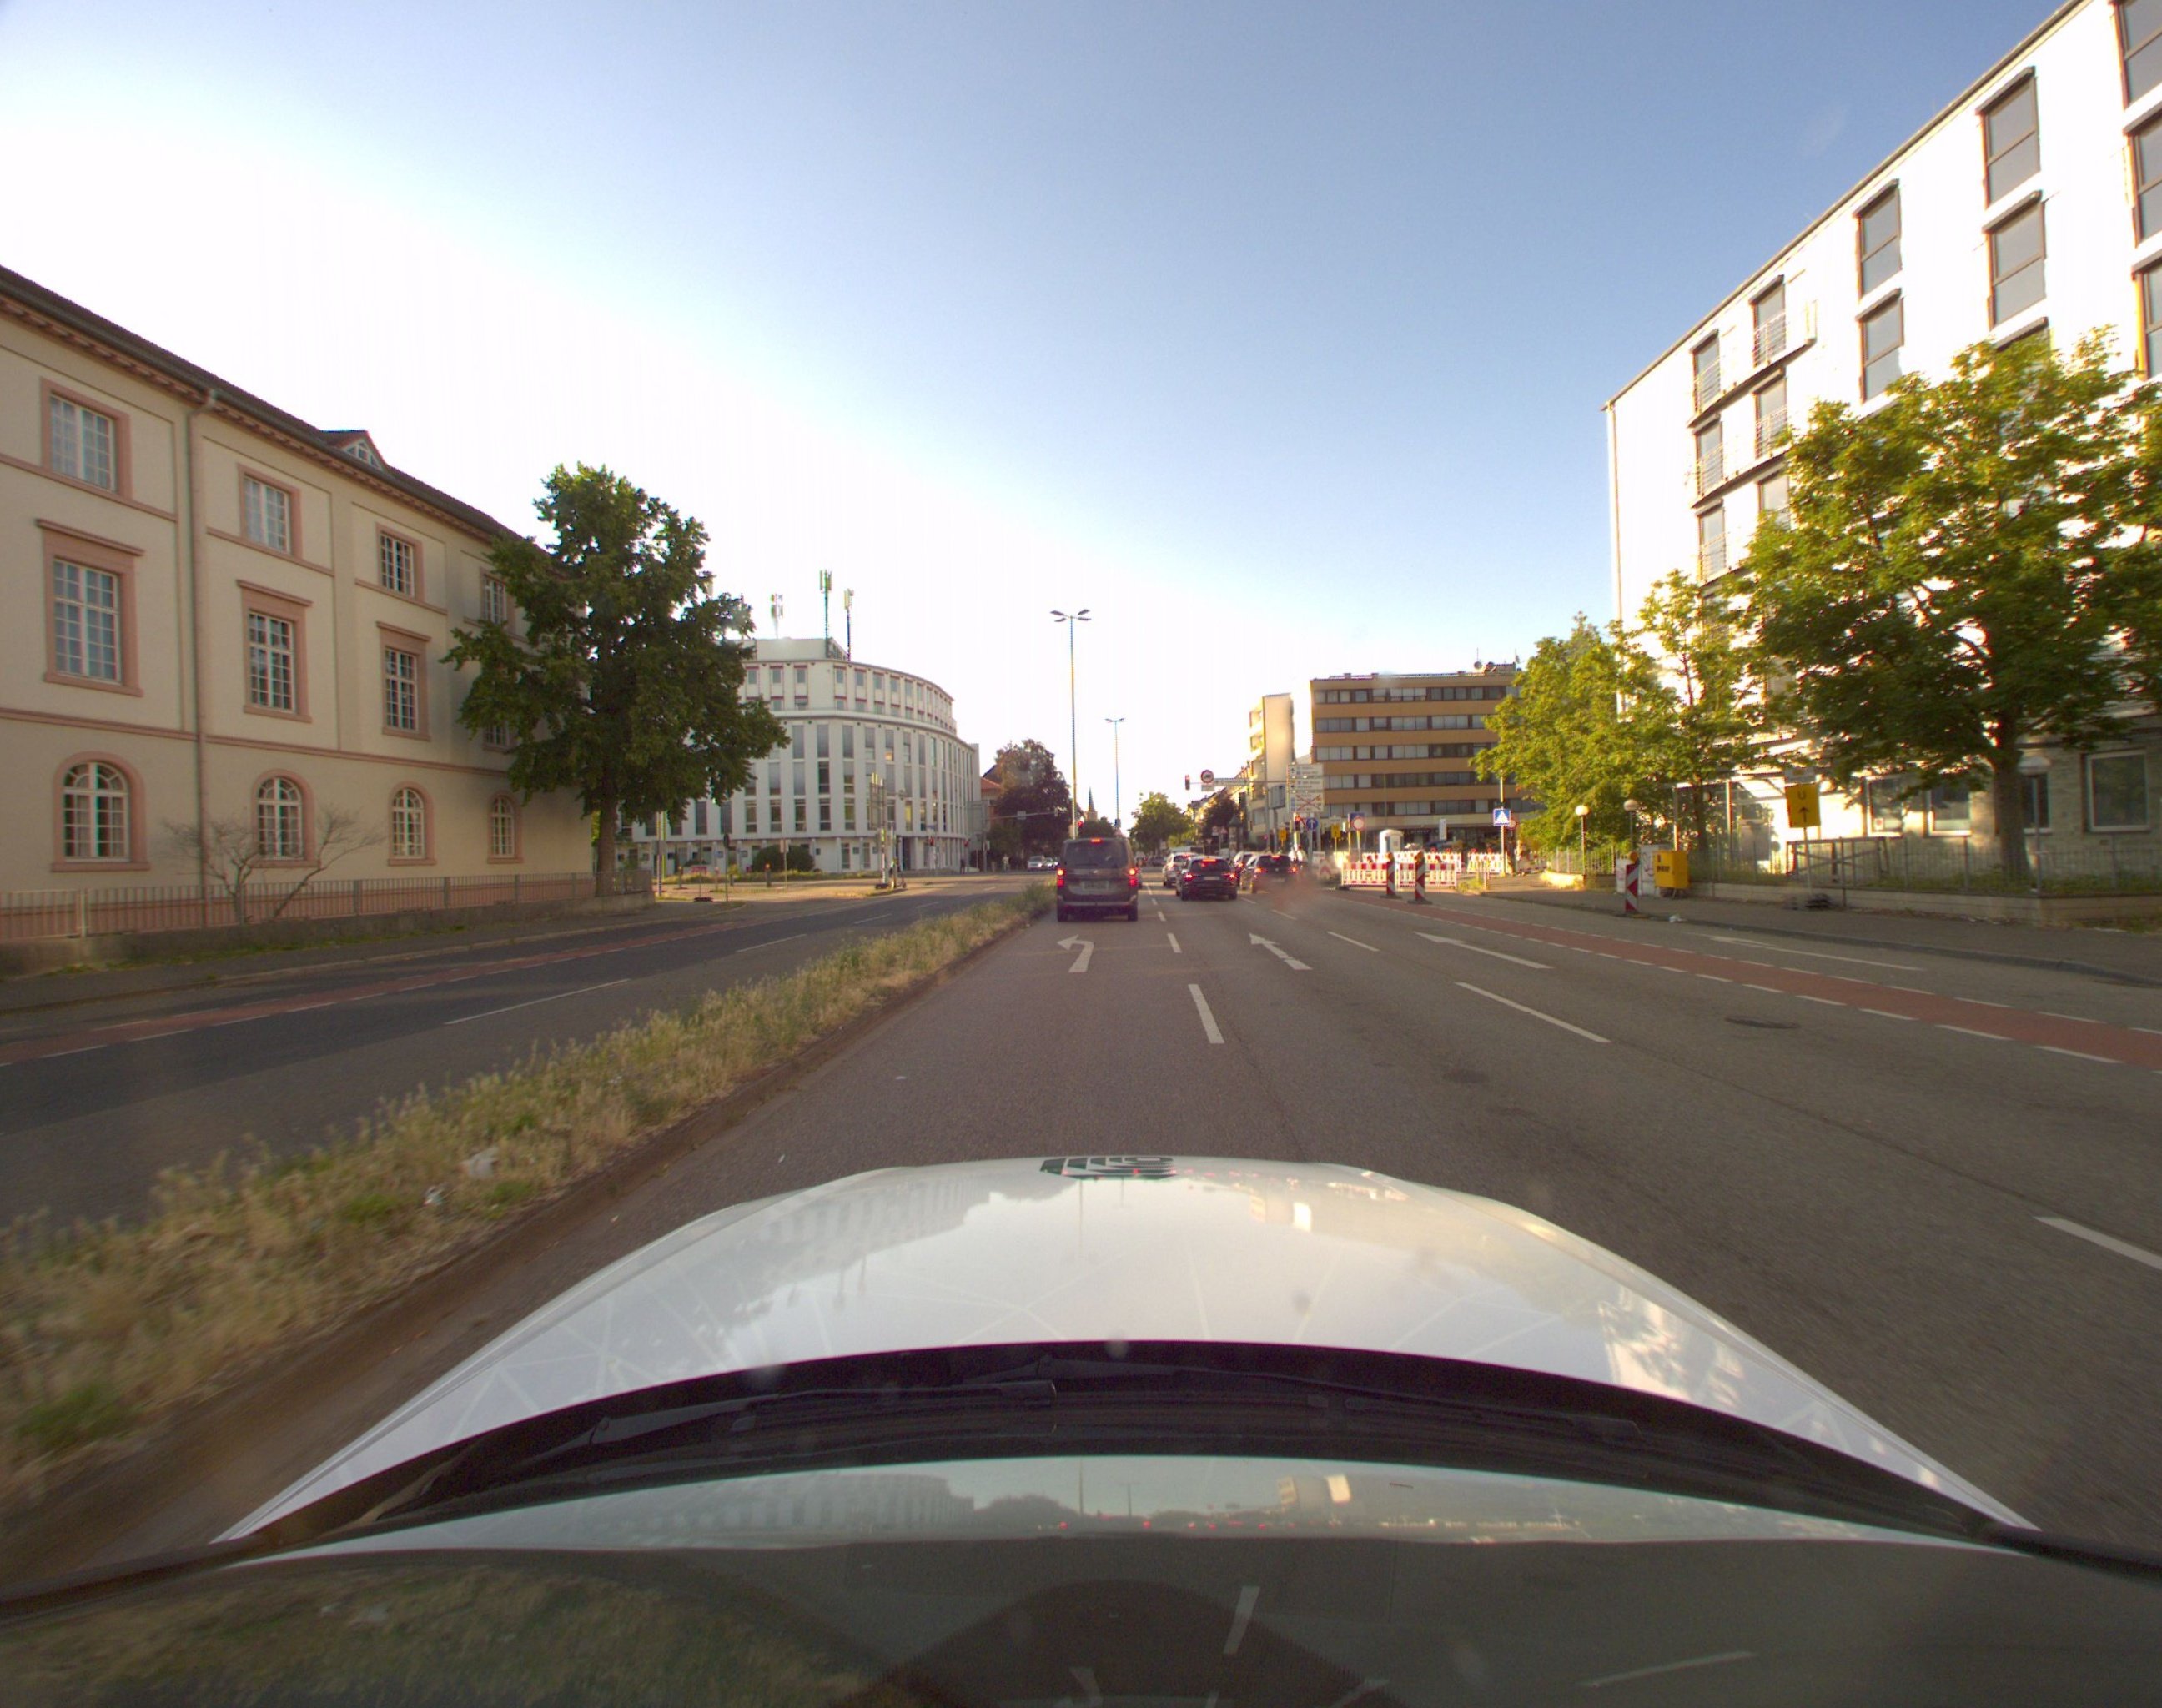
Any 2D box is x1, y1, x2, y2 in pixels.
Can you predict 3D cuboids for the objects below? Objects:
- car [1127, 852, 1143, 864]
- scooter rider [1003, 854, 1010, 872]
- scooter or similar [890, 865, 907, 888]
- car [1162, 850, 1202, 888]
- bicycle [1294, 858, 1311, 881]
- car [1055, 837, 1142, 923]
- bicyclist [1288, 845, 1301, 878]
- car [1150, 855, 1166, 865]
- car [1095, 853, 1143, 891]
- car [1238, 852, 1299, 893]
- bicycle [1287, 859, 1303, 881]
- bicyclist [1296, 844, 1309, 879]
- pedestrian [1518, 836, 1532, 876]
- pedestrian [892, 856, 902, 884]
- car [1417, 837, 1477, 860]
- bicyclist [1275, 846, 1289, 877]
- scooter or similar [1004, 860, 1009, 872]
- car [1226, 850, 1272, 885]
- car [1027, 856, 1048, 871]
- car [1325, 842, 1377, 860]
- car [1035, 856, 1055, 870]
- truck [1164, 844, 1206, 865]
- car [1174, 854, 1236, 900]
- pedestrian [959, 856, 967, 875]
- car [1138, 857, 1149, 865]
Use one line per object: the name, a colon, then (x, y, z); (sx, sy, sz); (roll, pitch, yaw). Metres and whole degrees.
car: (7.905, 0.631, 119.635); (1.988, 1.662, 3.997); (-2, 0, -2)
scooter rider: (-7.392, 0.876, 80.695); (0.479, 1.697, 0.637); (-2, 0, 3)
scooter or similar: (-10.036, 1.234, 44.813); (0.892, 1.234, 0.370); (-2, 0, -9)
car: (4.503, 0.630, 36.633); (1.522, 1.613, 3.748); (0, 0, 3)
bicycle: (9.930, 0.680, 36.511); (0.335, 1.008, 1.857); (-2, 0, 3)
car: (0.500, 0.566, 20.118); (1.899, 1.863, 4.530); (0, 0, 3)
bicyclist: (10.152, 0.348, 38.726); (0.439, 1.525, 0.726); (-2, 0, 3)
car: (10.553, 0.821, 112.154); (1.897, 1.372, 4.001); (-2, 0, 1)
car: (1.686, 0.751, 36.164); (1.985, 1.530, 4.003); (-2, 0, 3)
car: (7.118, 0.662, 31.234); (1.627, 1.449, 3.748); (0, 0, 3)
bicycle: (10.152, 0.733, 38.642); (0.335, 1.008, 1.857); (-2, 0, 3)
bicyclist: (9.913, 0.328, 36.458); (0.439, 1.525, 0.483); (-2, 0, 3)
pedestrian: (20.470, 0.081, 37.561); (0.481, 1.834, 0.575); (-2, 0, 34)
pedestrian: (-10.169, 0.895, 44.975); (0.474, 1.505, 0.334); (-2, 0, -9)
car: (31.430, -0.504, 70.028); (4.198, 1.817, 2.002); (-2, 0, 3)
bicyclist: (10.277, 0.376, 41.661); (0.511, 1.525, 0.726); (-2, 0, 3)
scooter or similar: (-7.381, 1.186, 80.748); (0.284, 1.188, 1.170); (-2, 0, 3)
car: (7.564, 0.591, 36.866); (1.498, 1.449, 3.307); (-2, 0, 3)
car: (-4.497, 0.932, 84.548); (1.849, 1.420, 4.001); (-2, 0, 1)
car: (23.751, -0.254, 71.774); (3.979, 1.420, 1.785); (-2, 0, -4)
car: (-3.939, 0.979, 90.375); (1.849, 1.420, 4.001); (-2, 0, 1)
truck: (11.159, 0.085, 87.755); (2.140, 2.086, 4.588); (-2, 0, -29)
car: (4.096, 0.732, 27.472); (1.675, 1.421, 4.217); (0, 0, 3)
pedestrian: (-10.655, 1.021, 73.620); (0.626, 1.722, 0.669); (-2, 0, -11)
car: (11.677, 1.320, 152.410); (1.897, 1.372, 4.001); (-2, 0, 1)
